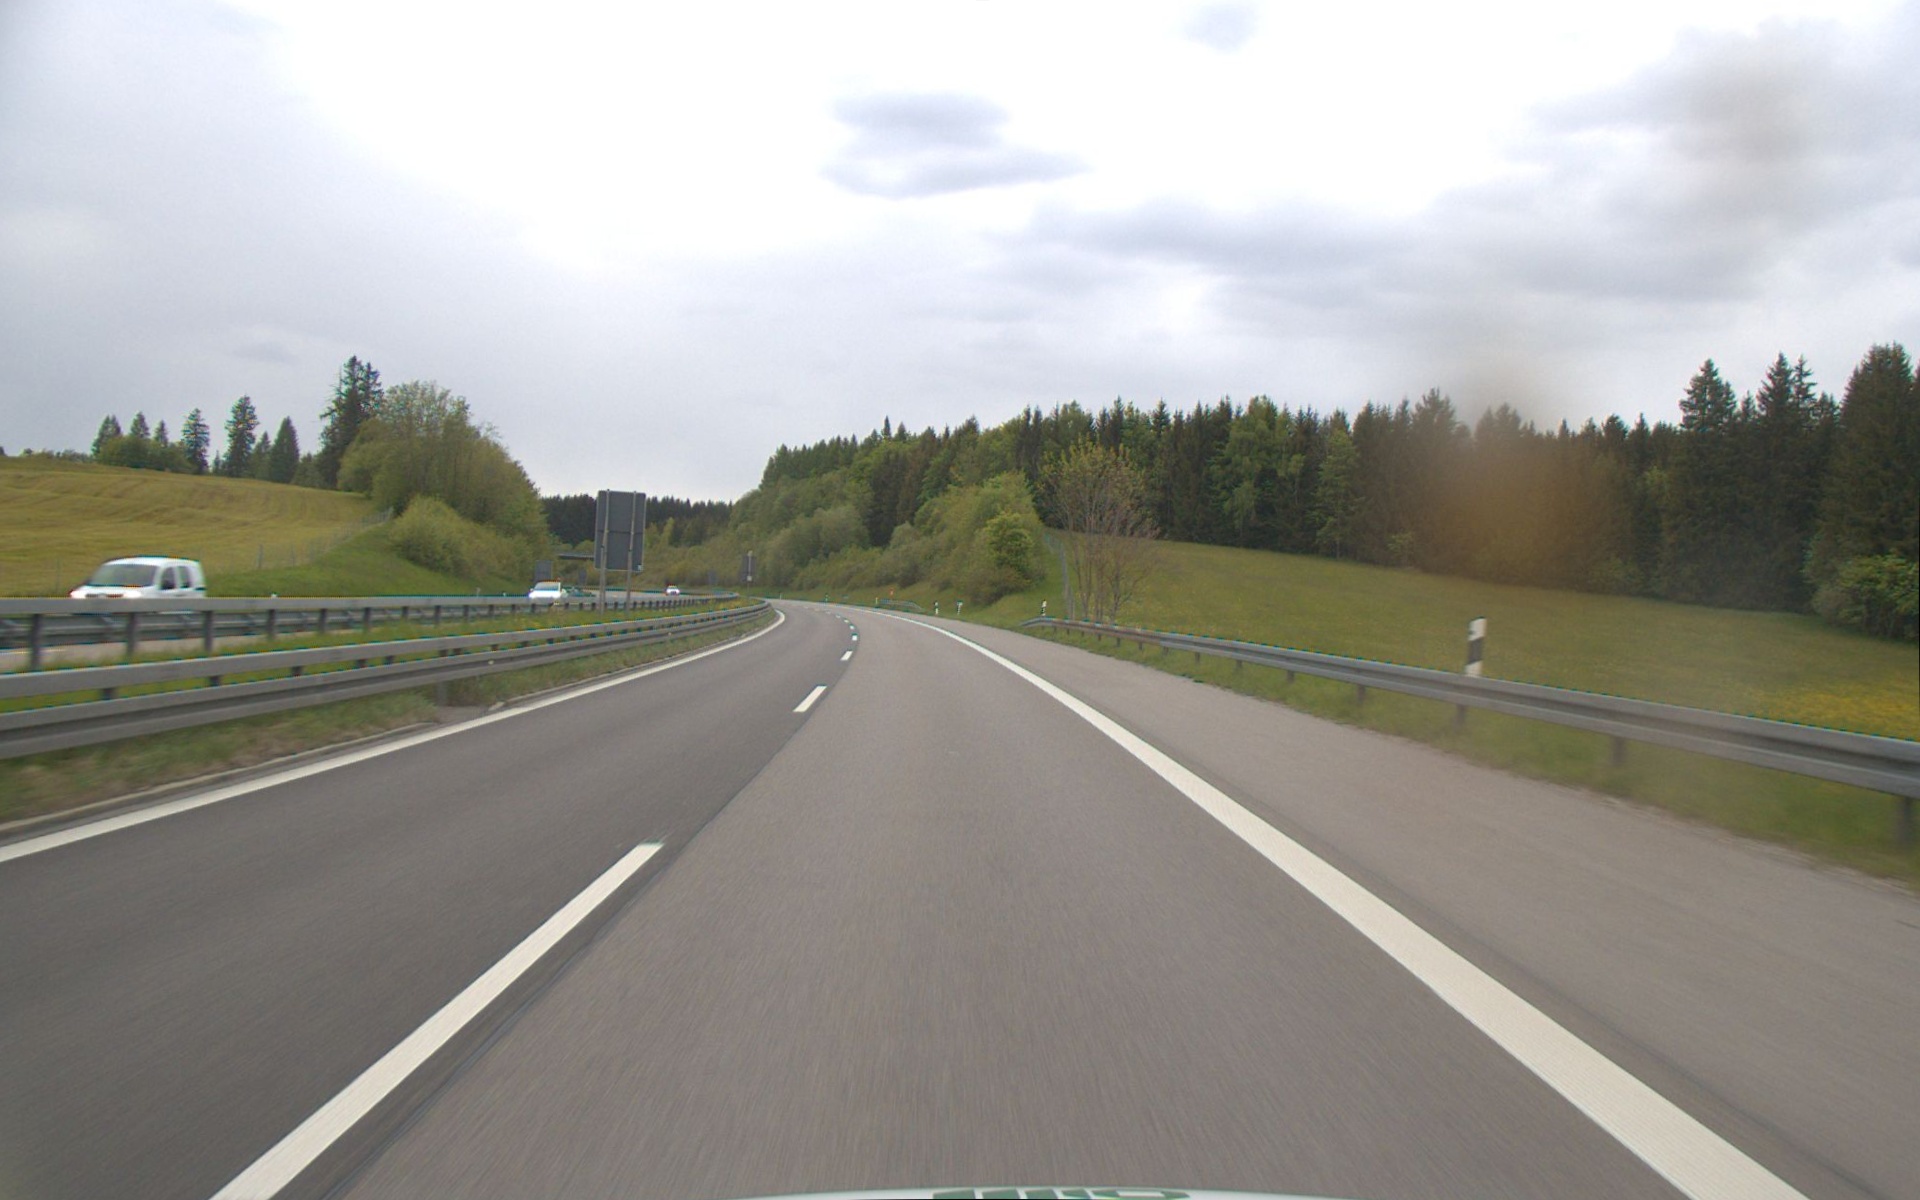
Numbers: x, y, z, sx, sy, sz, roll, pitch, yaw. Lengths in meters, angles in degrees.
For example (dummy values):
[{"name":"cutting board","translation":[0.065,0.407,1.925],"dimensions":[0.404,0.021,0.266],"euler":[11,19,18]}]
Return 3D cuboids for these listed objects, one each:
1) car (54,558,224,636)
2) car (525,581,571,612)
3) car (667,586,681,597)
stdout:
[{"name":"car","translation":[-20.435,-0.089,41.423],"dimensions":[1.953,1.715,4.625],"euler":[4,0,-2]},{"name":"car","translation":[-25.439,-0.249,102.293],"dimensions":[1.996,1.720,5.048],"euler":[4,0,-6]},{"name":"car","translation":[-43.331,-1.358,250.537],"dimensions":[1.958,1.454,4.451],"euler":[4,0,-11]}]
